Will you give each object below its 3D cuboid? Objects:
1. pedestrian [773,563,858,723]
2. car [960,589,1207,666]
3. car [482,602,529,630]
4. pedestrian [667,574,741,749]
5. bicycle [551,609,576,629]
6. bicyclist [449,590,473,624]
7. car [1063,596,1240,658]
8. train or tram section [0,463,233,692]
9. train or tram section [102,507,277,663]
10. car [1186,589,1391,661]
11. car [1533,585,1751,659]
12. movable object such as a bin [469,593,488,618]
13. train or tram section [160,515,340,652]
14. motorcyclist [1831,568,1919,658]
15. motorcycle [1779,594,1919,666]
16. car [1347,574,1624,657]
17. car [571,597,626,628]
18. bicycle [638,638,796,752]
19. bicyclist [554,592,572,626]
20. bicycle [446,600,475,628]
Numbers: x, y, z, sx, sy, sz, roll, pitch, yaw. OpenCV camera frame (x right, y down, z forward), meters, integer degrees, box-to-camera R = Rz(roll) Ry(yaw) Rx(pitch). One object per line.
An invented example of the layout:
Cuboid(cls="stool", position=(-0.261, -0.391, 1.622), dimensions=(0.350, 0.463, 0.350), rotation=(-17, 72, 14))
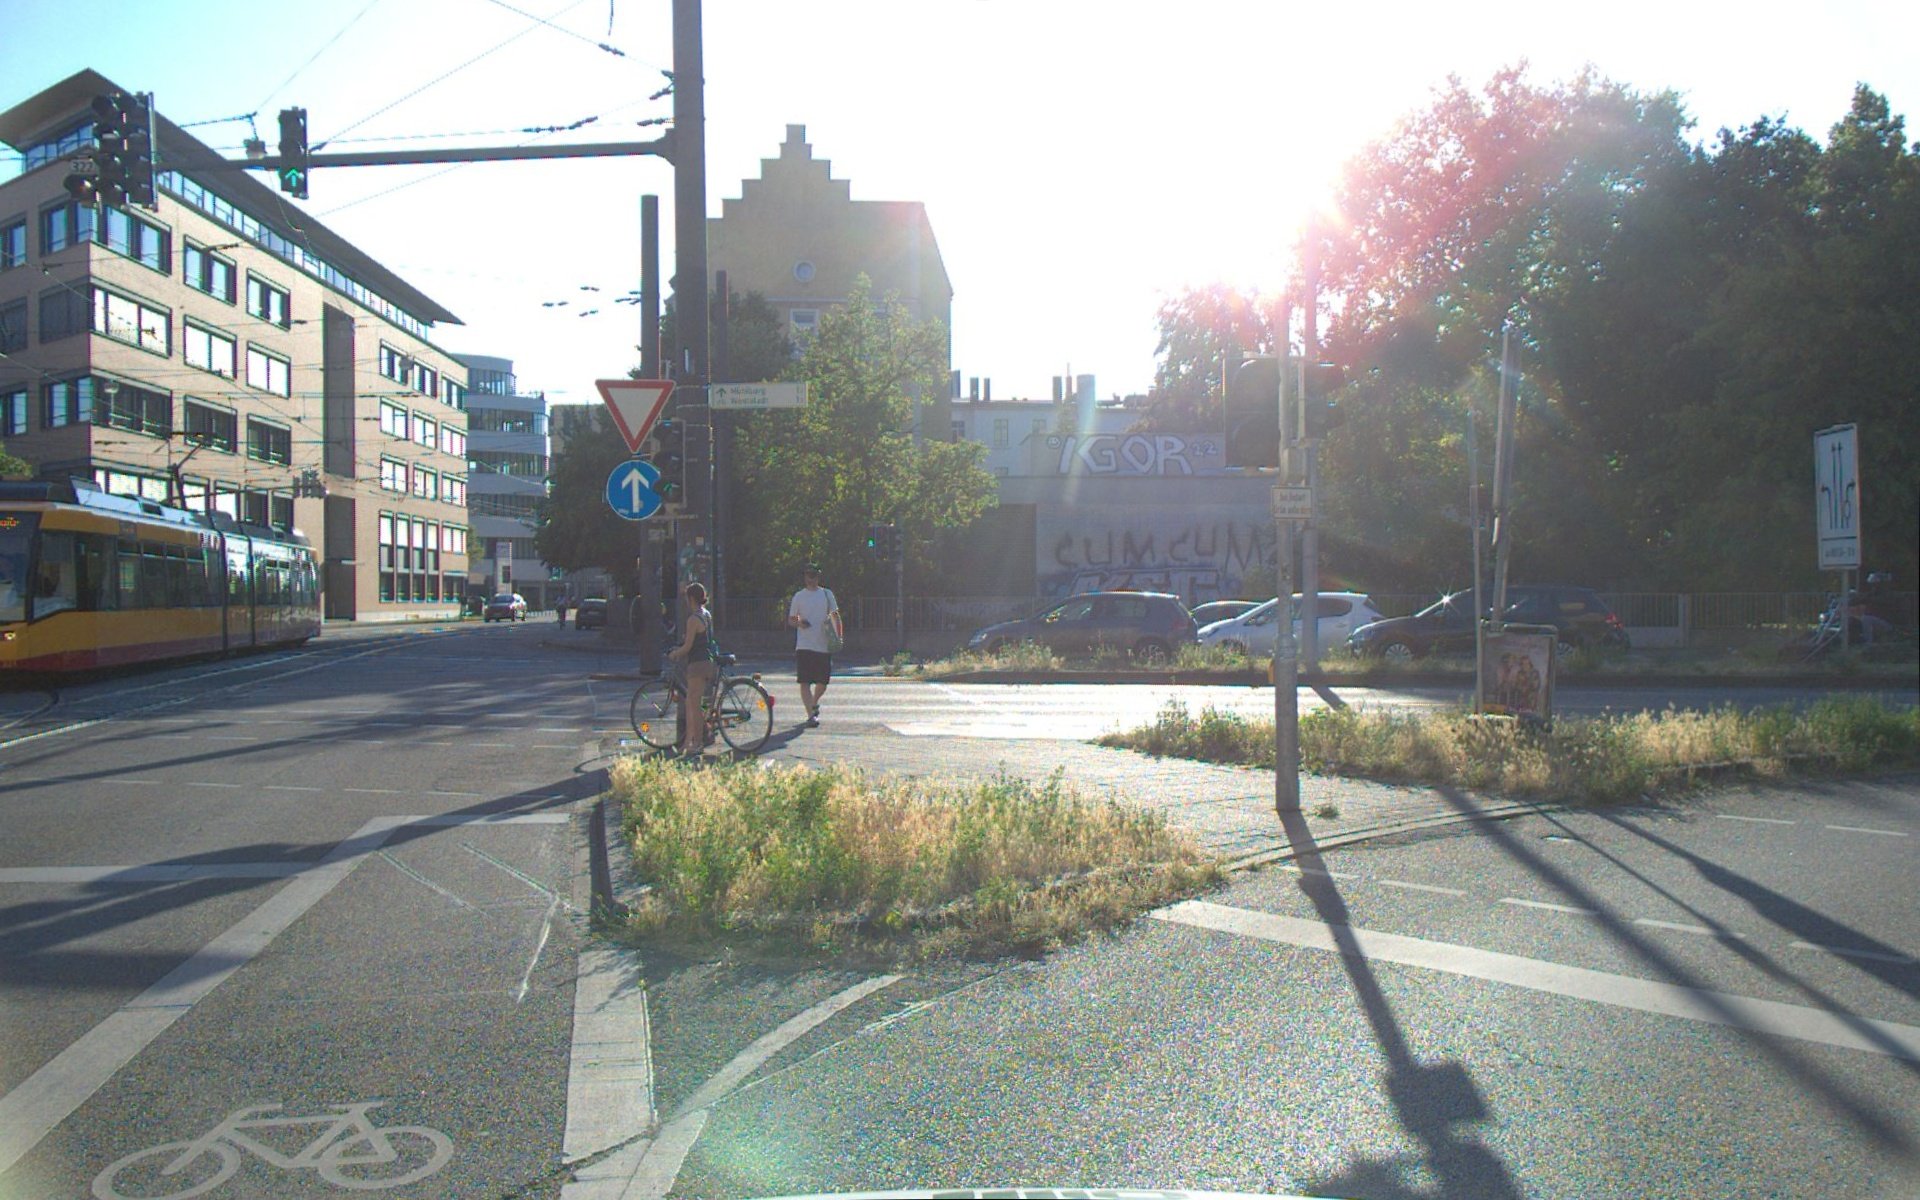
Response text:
Cuboid(cls="pedestrian", position=(-1.695, 0.487, 19.280), dimensions=(0.892, 1.820, 0.825), rotation=(-1, 0, -12))
Cuboid(cls="car", position=(2.222, 0.486, 29.438), dimensions=(4.144, 1.319, 1.726), rotation=(-1, 0, 13))
Cuboid(cls="car", position=(-27.625, 0.949, 100.691), dimensions=(1.779, 1.643, 4.463), rotation=(-1, 0, -2))
Cuboid(cls="pedestrian", position=(-2.482, 0.582, 16.045), dimensions=(0.514, 1.660, 0.488), rotation=(-1, 0, 31))
Cuboid(cls="bicycle", position=(-18.379, 0.872, 76.657), dimensions=(0.680, 0.892, 2.026), rotation=(0, 0, -1))
Cuboid(cls="bicyclist", position=(-30.722, 0.462, 101.836), dimensions=(1.009, 2.049, 1.246), rotation=(1, -1, -1))
Cuboid(cls="car", position=(4.279, 0.600, 36.712), dimensions=(3.798, 1.319, 1.726), rotation=(-1, 0, 10))
Cuboid(cls="train or tram section", position=(-16.936, -0.342, 31.962), dimensions=(2.811, 3.569, 12.972), rotation=(0, 0, -13))
Cuboid(cls="train or tram section", position=(-18.882, -0.359, 40.847), dimensions=(2.811, 3.569, 5.286), rotation=(0, 0, -13))
Cuboid(cls="car", position=(6.342, 0.479, 32.143), dimensions=(3.798, 1.342, 1.726), rotation=(-1, 0, 10))
Cuboid(cls="car", position=(14.396, 0.448, 35.082), dimensions=(3.903, 1.489, 1.861), rotation=(-1, 1, 5))
Cuboid(cls="movable object such as a bin", position=(-32.525, 0.389, 111.729), dimensions=(1.045, 1.657, 0.888), rotation=(-1, 0, -4))
Cuboid(cls="train or tram section", position=(-20.649, -0.446, 48.848), dimensions=(2.811, 3.569, 11.260), rotation=(0, 0, -13))
Cuboid(cls="motorcyclist", position=(14.719, 0.210, 26.608), dimensions=(1.035, 1.422, 0.855), rotation=(-1, 0, 12))
Cuboid(cls="motorcycle", position=(14.610, 0.478, 26.608), dimensions=(2.409, 1.127, 0.862), rotation=(-1, 0, 12))
Cuboid(cls="car", position=(8.732, 0.259, 27.806), dimensions=(4.269, 1.319, 1.726), rotation=(-1, 0, 12))
Cuboid(cls="car", position=(-17.058, 0.550, 78.215), dimensions=(1.748, 1.412, 4.000), rotation=(0, 0, 0))
Cuboid(cls="bicycle", position=(-2.374, 0.904, 16.093), dimensions=(1.636, 1.047, 0.399), rotation=(-1, 0, 31))
Cuboid(cls="bicyclist", position=(-18.395, 0.402, 76.675), dimensions=(0.660, 1.549, 0.813), rotation=(0, 0, -1))
Cuboid(cls="bicycle", position=(-30.739, 0.839, 101.865), dimensions=(1.009, 1.680, 2.560), rotation=(-1, 0, 0))
